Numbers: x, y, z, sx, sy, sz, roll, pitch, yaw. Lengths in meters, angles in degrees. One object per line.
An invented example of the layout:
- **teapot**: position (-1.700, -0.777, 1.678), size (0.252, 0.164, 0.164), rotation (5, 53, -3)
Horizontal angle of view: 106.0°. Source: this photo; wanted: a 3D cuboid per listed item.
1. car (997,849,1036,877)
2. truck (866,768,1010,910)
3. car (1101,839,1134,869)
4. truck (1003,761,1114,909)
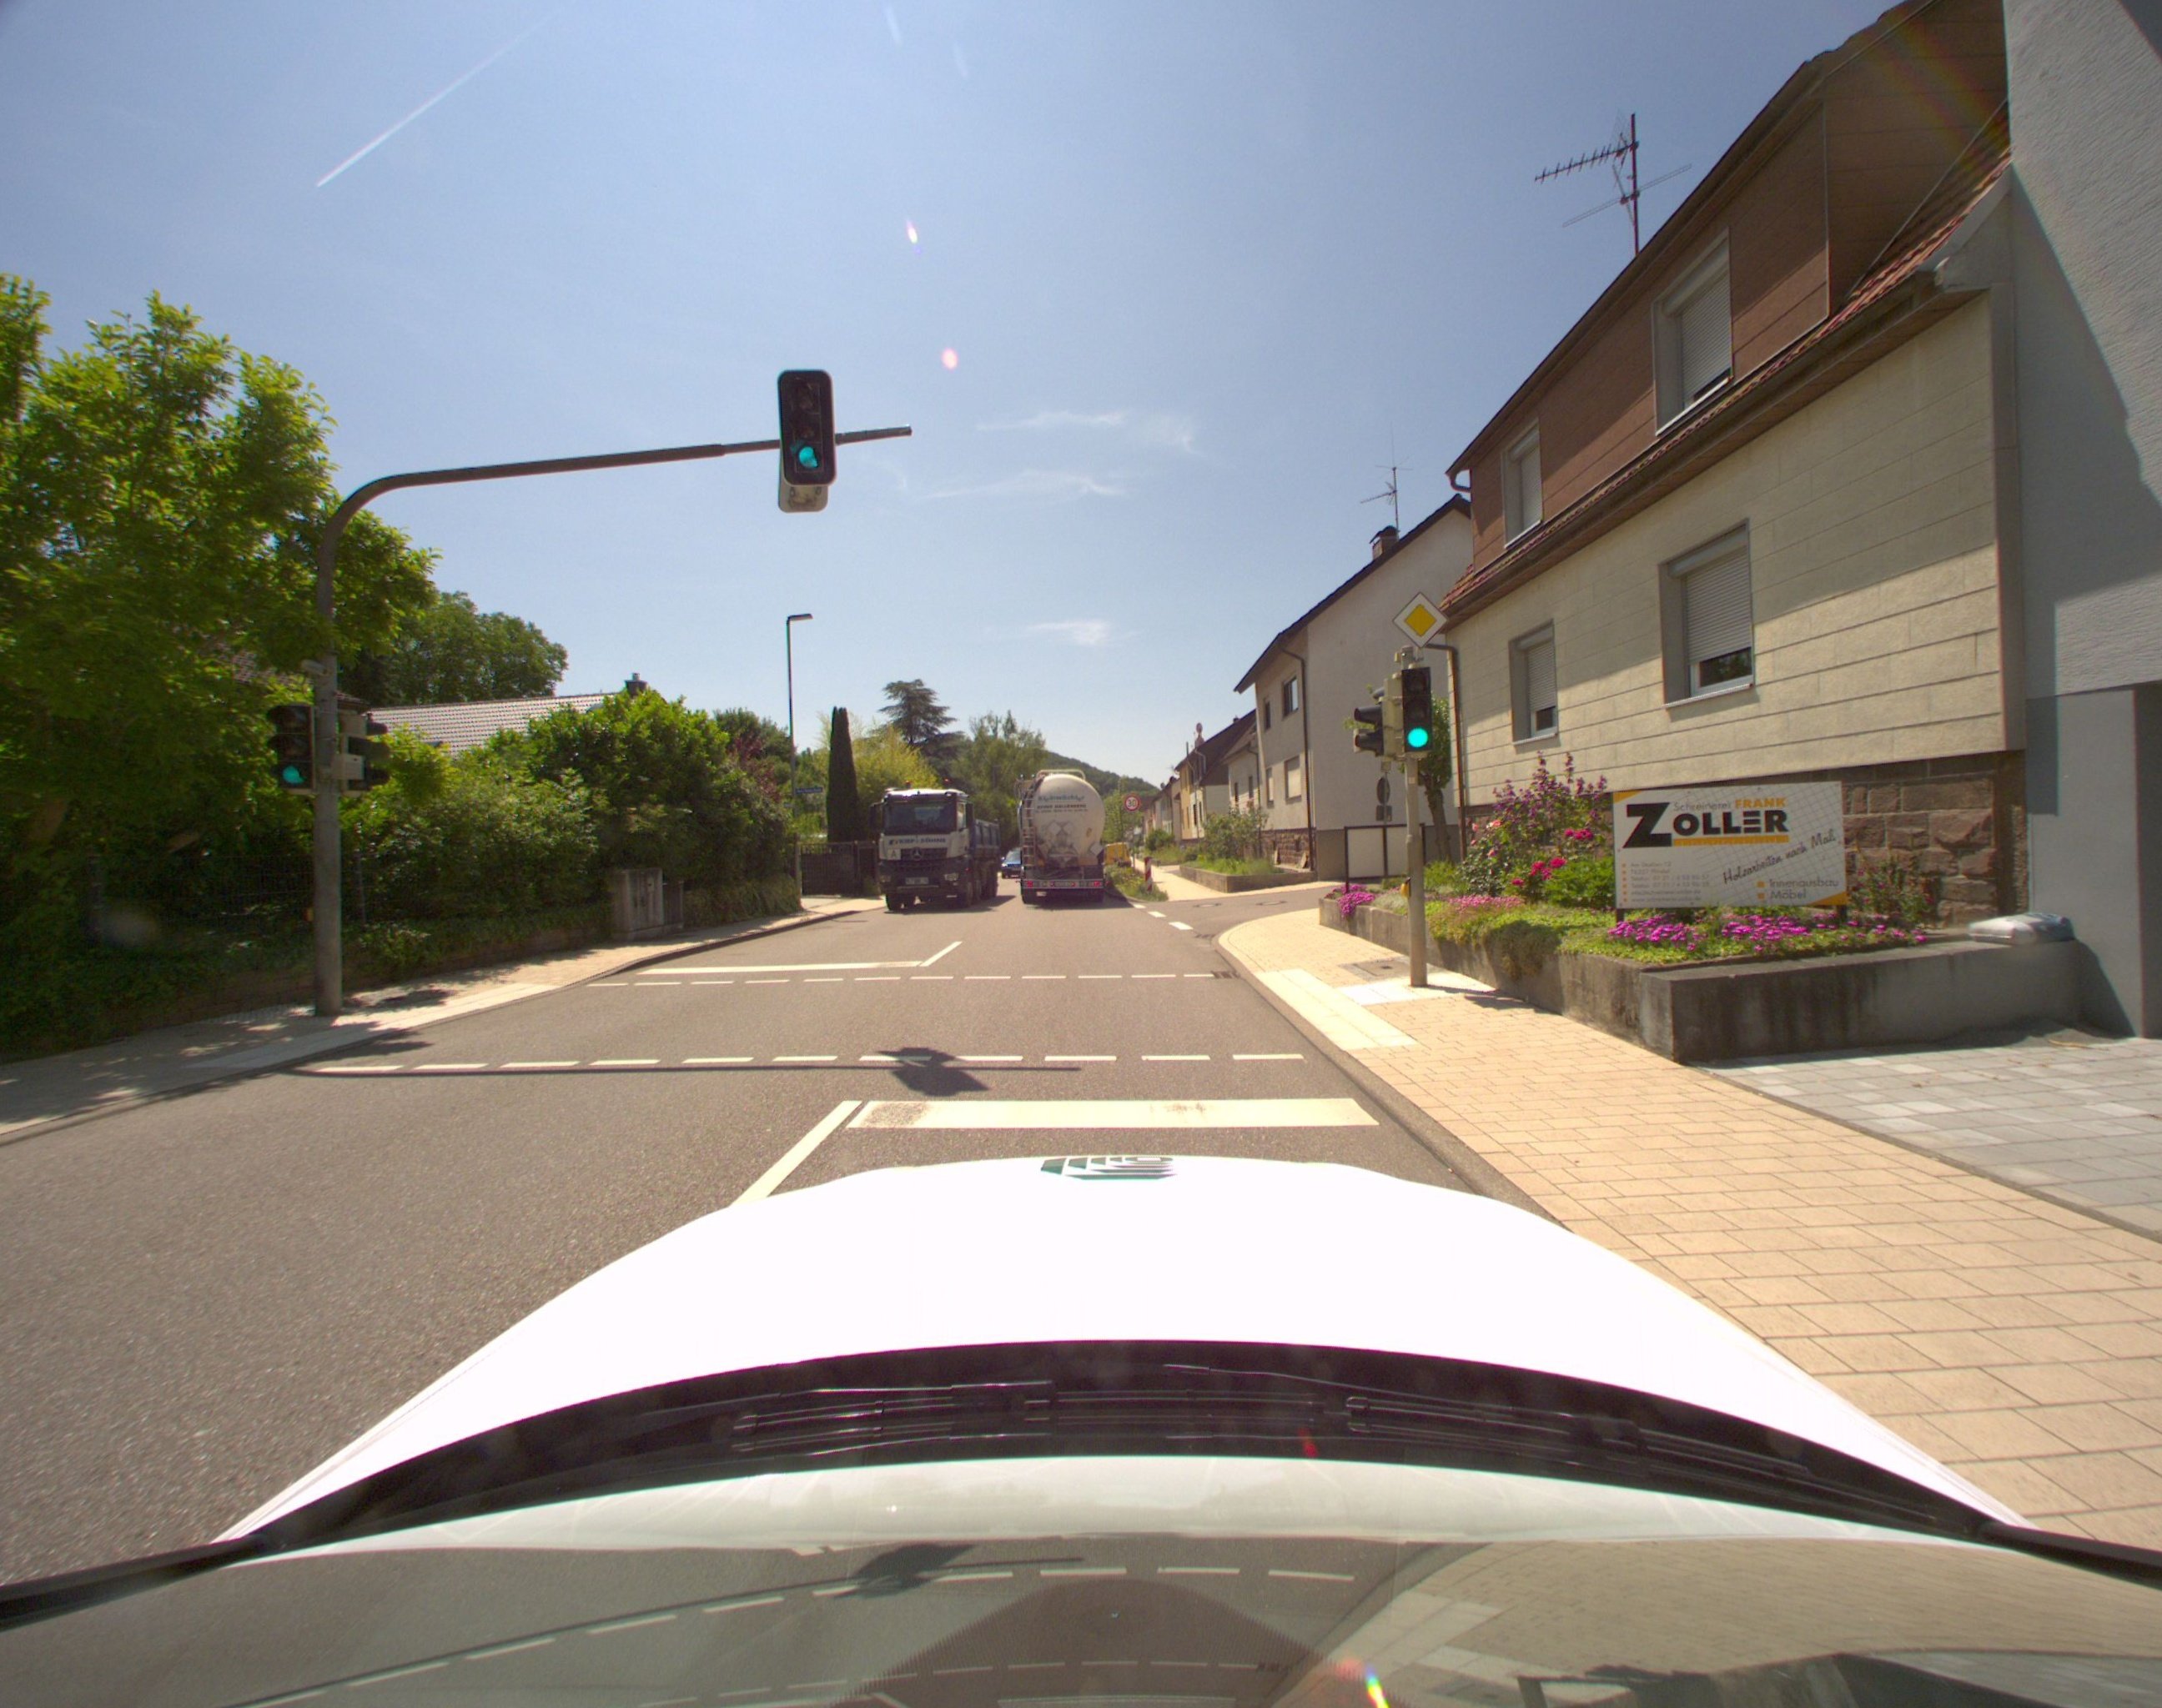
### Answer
- **car**: position (-3.894, 0.561, 49.963), size (1.881, 1.645, 4.615), rotation (0, 0, 2)
- **truck**: position (-4.267, -0.438, 26.457), size (2.531, 3.738, 8.630), rotation (-3, 0, 3)
- **car**: position (2.815, 0.016, 63.734), size (2.182, 2.013, 5.623), rotation (-6, -1, 1)
- **truck**: position (-0.408, -0.581, 27.995), size (2.738, 4.056, 10.901), rotation (-1, 0, 4)
